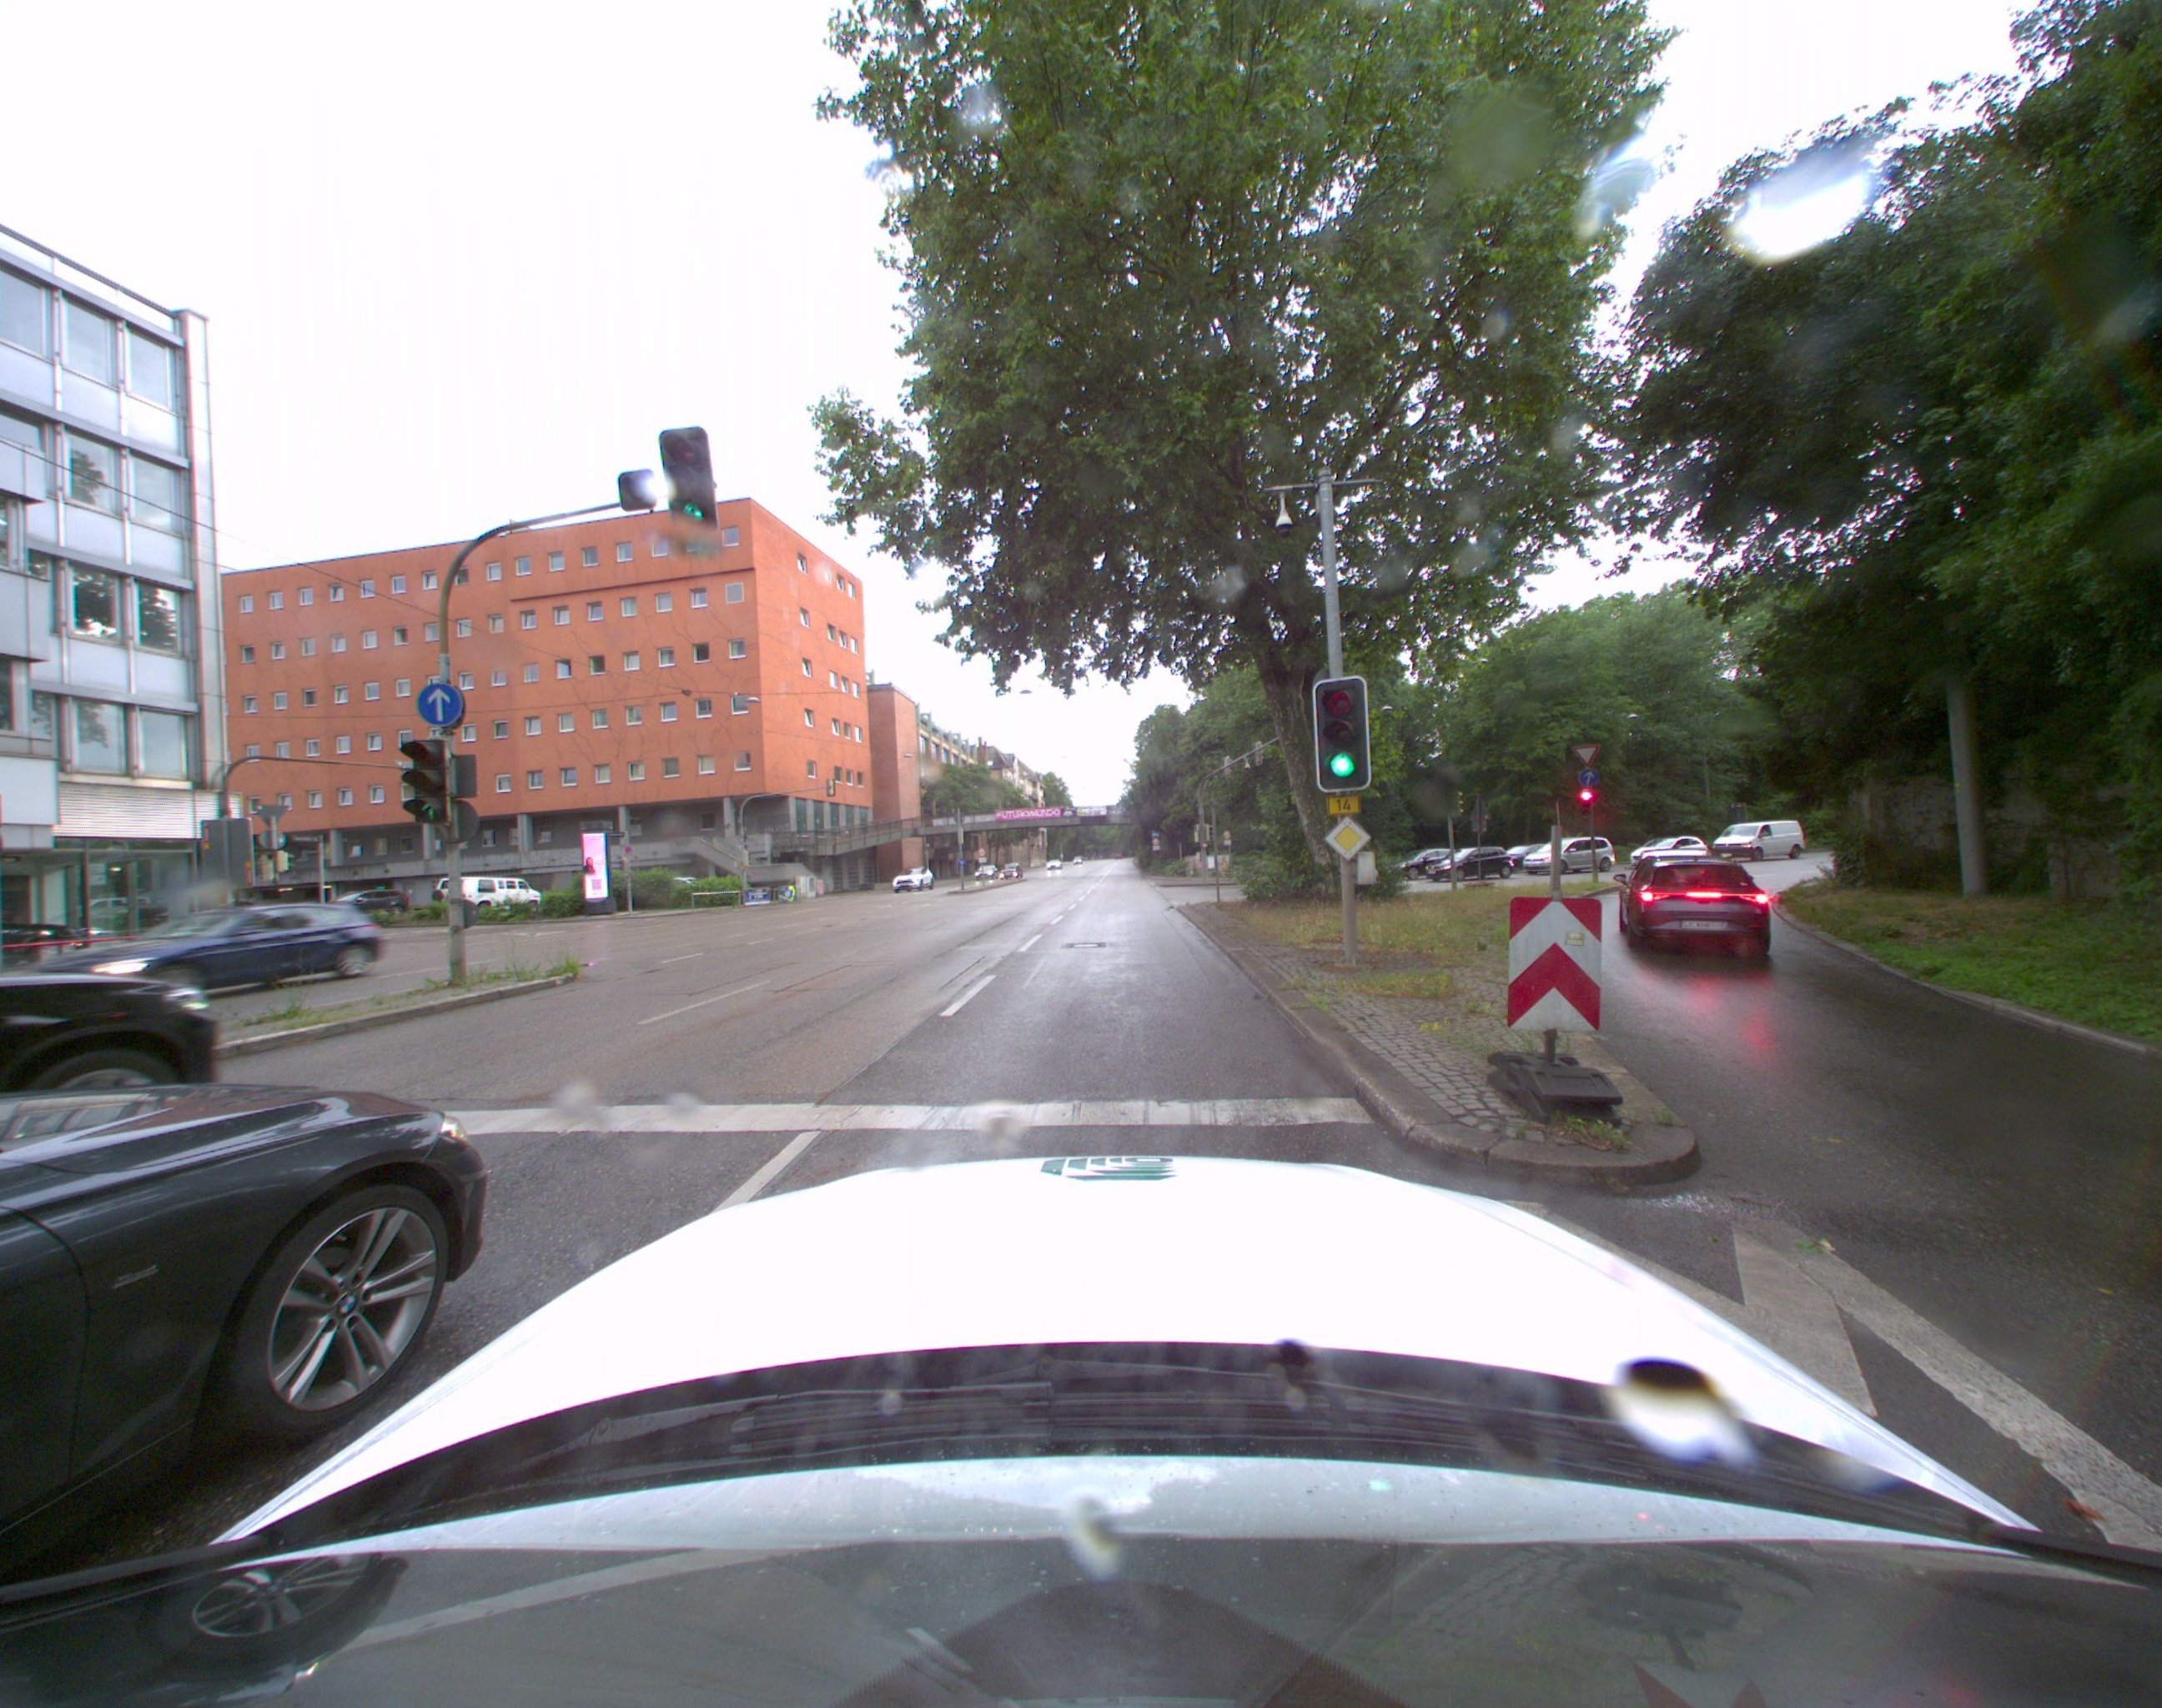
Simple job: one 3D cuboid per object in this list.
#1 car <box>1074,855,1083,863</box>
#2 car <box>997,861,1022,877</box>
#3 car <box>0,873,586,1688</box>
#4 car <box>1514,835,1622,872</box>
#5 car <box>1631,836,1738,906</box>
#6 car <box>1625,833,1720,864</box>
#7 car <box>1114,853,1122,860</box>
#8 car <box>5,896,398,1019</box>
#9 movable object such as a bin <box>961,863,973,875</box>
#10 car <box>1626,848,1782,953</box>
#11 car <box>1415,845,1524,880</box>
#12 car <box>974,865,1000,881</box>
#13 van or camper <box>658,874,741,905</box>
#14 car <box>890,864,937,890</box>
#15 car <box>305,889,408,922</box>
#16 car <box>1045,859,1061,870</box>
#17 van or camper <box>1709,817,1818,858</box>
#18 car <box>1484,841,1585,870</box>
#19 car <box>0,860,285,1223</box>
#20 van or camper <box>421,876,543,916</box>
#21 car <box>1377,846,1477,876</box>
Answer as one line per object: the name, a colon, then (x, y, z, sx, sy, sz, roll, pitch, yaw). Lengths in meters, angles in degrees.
car: (-0.482, 1.026, 159.997, 1.594, 1.499, 3.715, -4, -1, 3)
car: (-6.751, 1.388, 77.113, 1.676, 1.436, 3.866, -3, -1, 3)
car: (-2.919, 0.834, 0.909, 1.769, 1.458, 4.480, -3, -1, 3)
car: (22.622, -0.027, 37.850, 4.203, 1.680, 1.898, 0, -1, -14)
car: (14.484, 0.329, 19.710, 1.834, 1.448, 4.648, 2, 2, 35)
car: (28.847, -0.280, 39.740, 3.857, 1.461, 1.650, 0, -1, -14)
car: (9.742, 0.630, 215.843, 1.996, 1.643, 4.378, -3, -1, 2)
car: (-13.947, 1.536, 13.375, 1.678, 1.419, 4.218, -4, -1, 3)
movable object such as a bin: (-15.112, 2.006, 107.692, 1.277, 1.518, 1.274, -3, 0, 3)
car: (10.033, 0.625, 13.409, 1.731, 1.403, 4.442, 1, 1, 34)
car: (17.164, 0.359, 36.050, 4.192, 1.460, 1.784, 0, -1, -14)
car: (-9.392, 1.864, 81.812, 1.701, 1.464, 4.047, -3, -1, 5)
van or camper: (-22.610, 2.096, 48.360, 3.965, 1.627, 1.918, -3, 0, 8)
car: (-11.343, 1.507, 55.348, 1.881, 1.610, 4.461, -3, -1, 4)
car: (-40.250, 2.854, 45.389, 1.699, 1.612, 4.097, -1, -1, 9)
car: (-3.902, 1.423, 114.362, 1.823, 1.393, 4.409, -4, -1, 3)
van or camper: (34.903, -0.822, 41.664, 4.860, 1.947, 1.896, -1, -1, -17)
car: (22.923, 0.056, 41.164, 4.438, 1.402, 1.821, 0, -1, -14)
car: (-5.916, 0.854, 2.788, 1.801, 1.656, 4.449, 0, -1, 4)
van or camper: (-32.839, 2.256, 44.900, 2.113, 1.977, 5.466, -1, -1, 9)
car: (16.902, 0.334, 39.839, 4.205, 1.440, 1.941, 0, -1, -14)
